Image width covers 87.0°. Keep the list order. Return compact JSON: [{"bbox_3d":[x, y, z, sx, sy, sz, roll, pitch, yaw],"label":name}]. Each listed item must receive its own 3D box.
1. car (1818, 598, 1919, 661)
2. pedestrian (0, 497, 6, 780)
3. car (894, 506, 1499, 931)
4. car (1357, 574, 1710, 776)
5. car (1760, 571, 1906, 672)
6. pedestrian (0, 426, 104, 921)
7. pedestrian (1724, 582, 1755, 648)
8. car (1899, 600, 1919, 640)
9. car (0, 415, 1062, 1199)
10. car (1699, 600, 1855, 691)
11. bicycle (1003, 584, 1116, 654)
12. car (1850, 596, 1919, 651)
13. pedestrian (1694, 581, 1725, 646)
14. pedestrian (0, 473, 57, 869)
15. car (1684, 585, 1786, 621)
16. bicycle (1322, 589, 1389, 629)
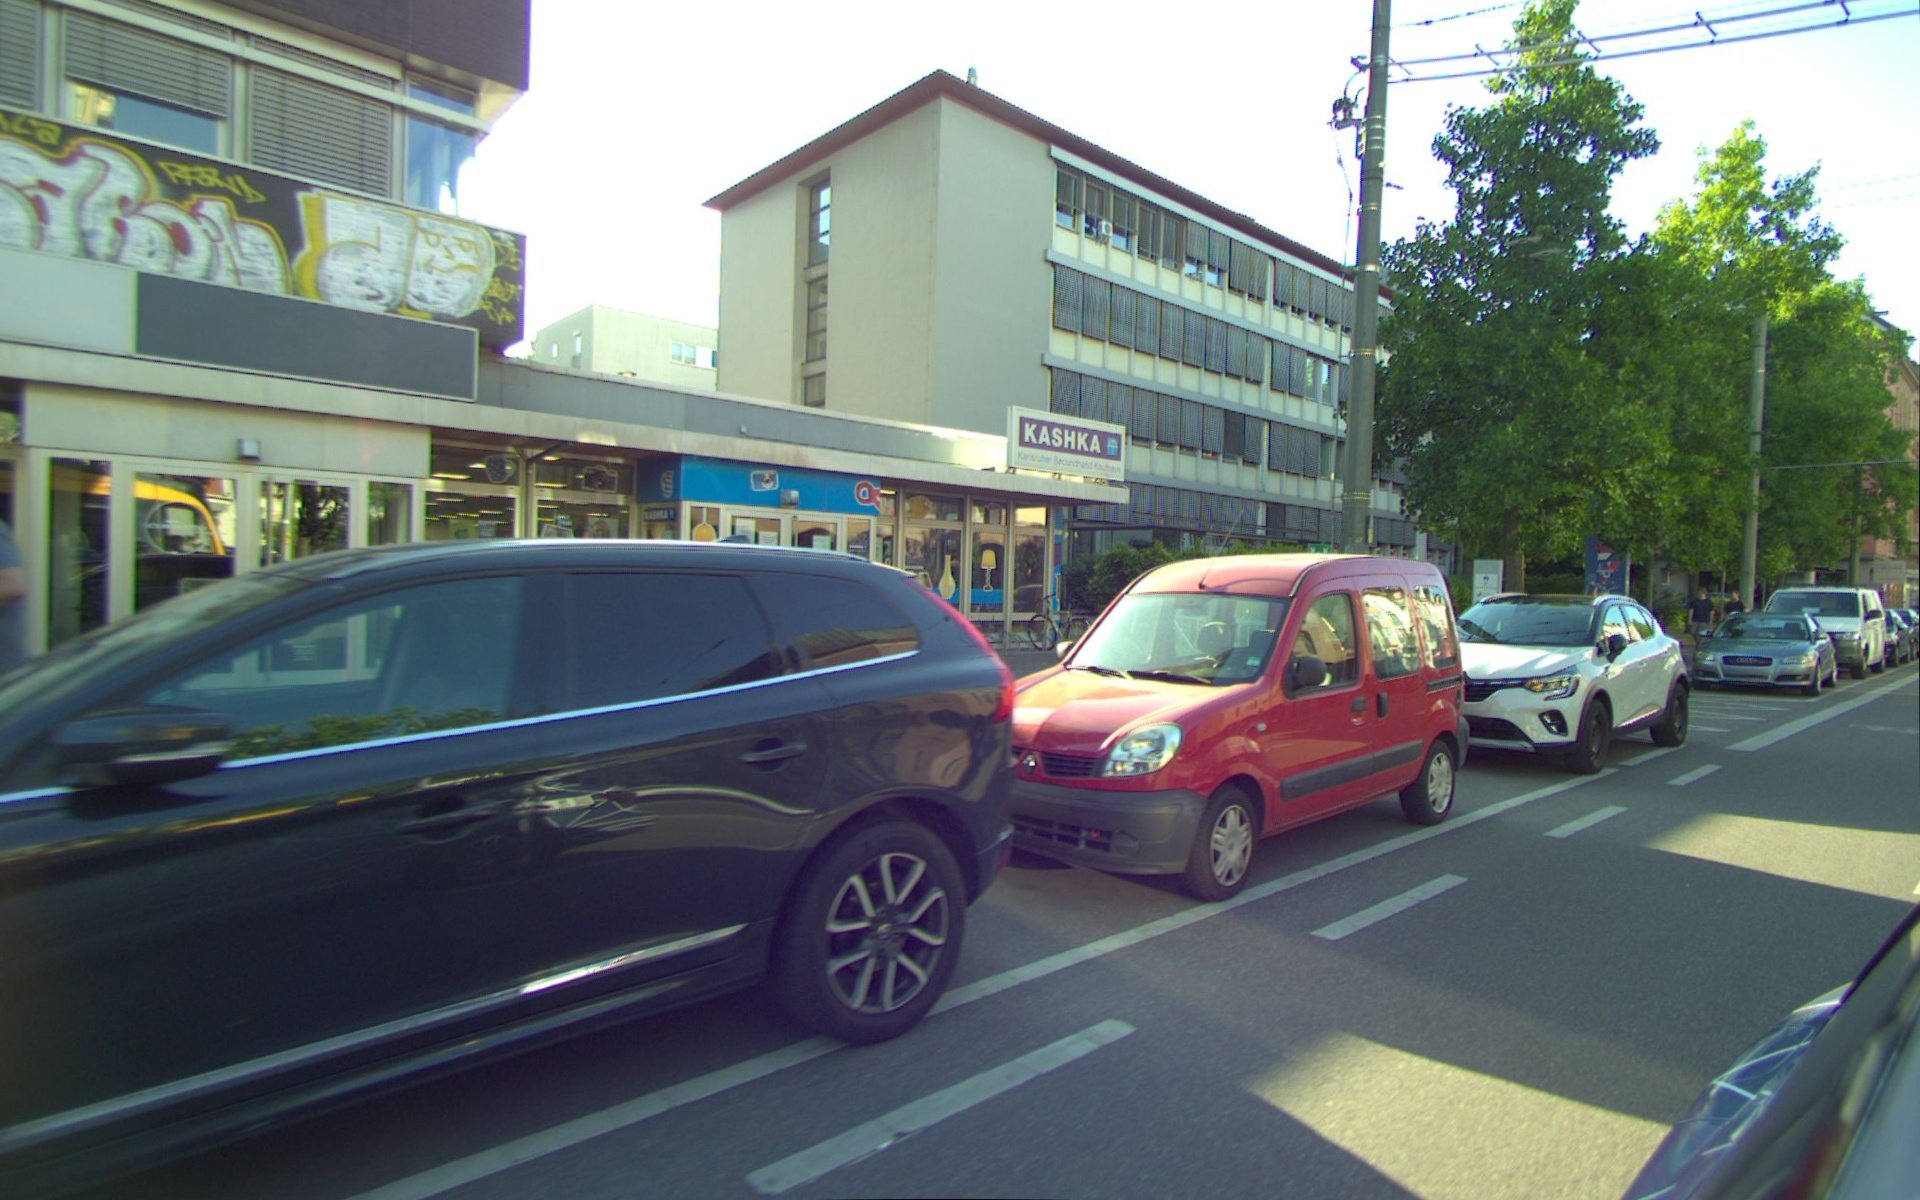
[{"bbox_3d":[24.159,0.720,26.749,3.843,1.511,1.686,-1,0,-41],"label":"car"},{"bbox_3d":[-6.277,0.236,5.888,1.015,1.734,0.902,0,3,-42],"label":"pedestrian"},{"bbox_3d":[1.733,0.500,6.398,4.176,1.831,1.677,0,0,-42],"label":"car"},{"bbox_3d":[5.912,0.606,10.219,4.250,1.616,1.790,0,0,-41],"label":"car"},{"bbox_3d":[19.678,0.427,22.743,4.820,2.047,1.880,0,0,-42],"label":"car"},{"bbox_3d":[-4.140,0.274,4.086,1.015,1.923,0.795,0,2,-42],"label":"pedestrian"},{"bbox_3d":[21.015,0.404,27.271,0.429,1.734,0.494,0,3,-42],"label":"pedestrian"},{"bbox_3d":[36.938,0.749,38.251,4.140,1.446,1.782,0,0,-42],"label":"car"},{"bbox_3d":[-1.841,0.534,3.097,4.398,1.780,1.823,0,0,-42],"label":"car"},{"bbox_3d":[14.979,0.743,18.480,4.098,1.422,1.676,-1,0,-43],"label":"car"},{"bbox_3d":[1.765,0.321,18.133,2.013,1.109,0.628,4,2,42],"label":"bicycle"},{"bbox_3d":[27.771,0.672,29.934,3.832,1.513,1.597,0,0,-40],"label":"car"},{"bbox_3d":[20.573,0.373,27.779,0.429,1.734,0.494,0,3,-42],"label":"pedestrian"},{"bbox_3d":[-4.814,0.305,4.618,1.015,1.778,0.812,0,2,-42],"label":"pedestrian"},{"bbox_3d":[44.243,0.132,57.835,1.563,1.692,4.360,0,4,-45],"label":"car"},{"bbox_3d":[10.324,0.224,26.471,1.600,0.971,0.366,1,1,20],"label":"bicycle"}]
